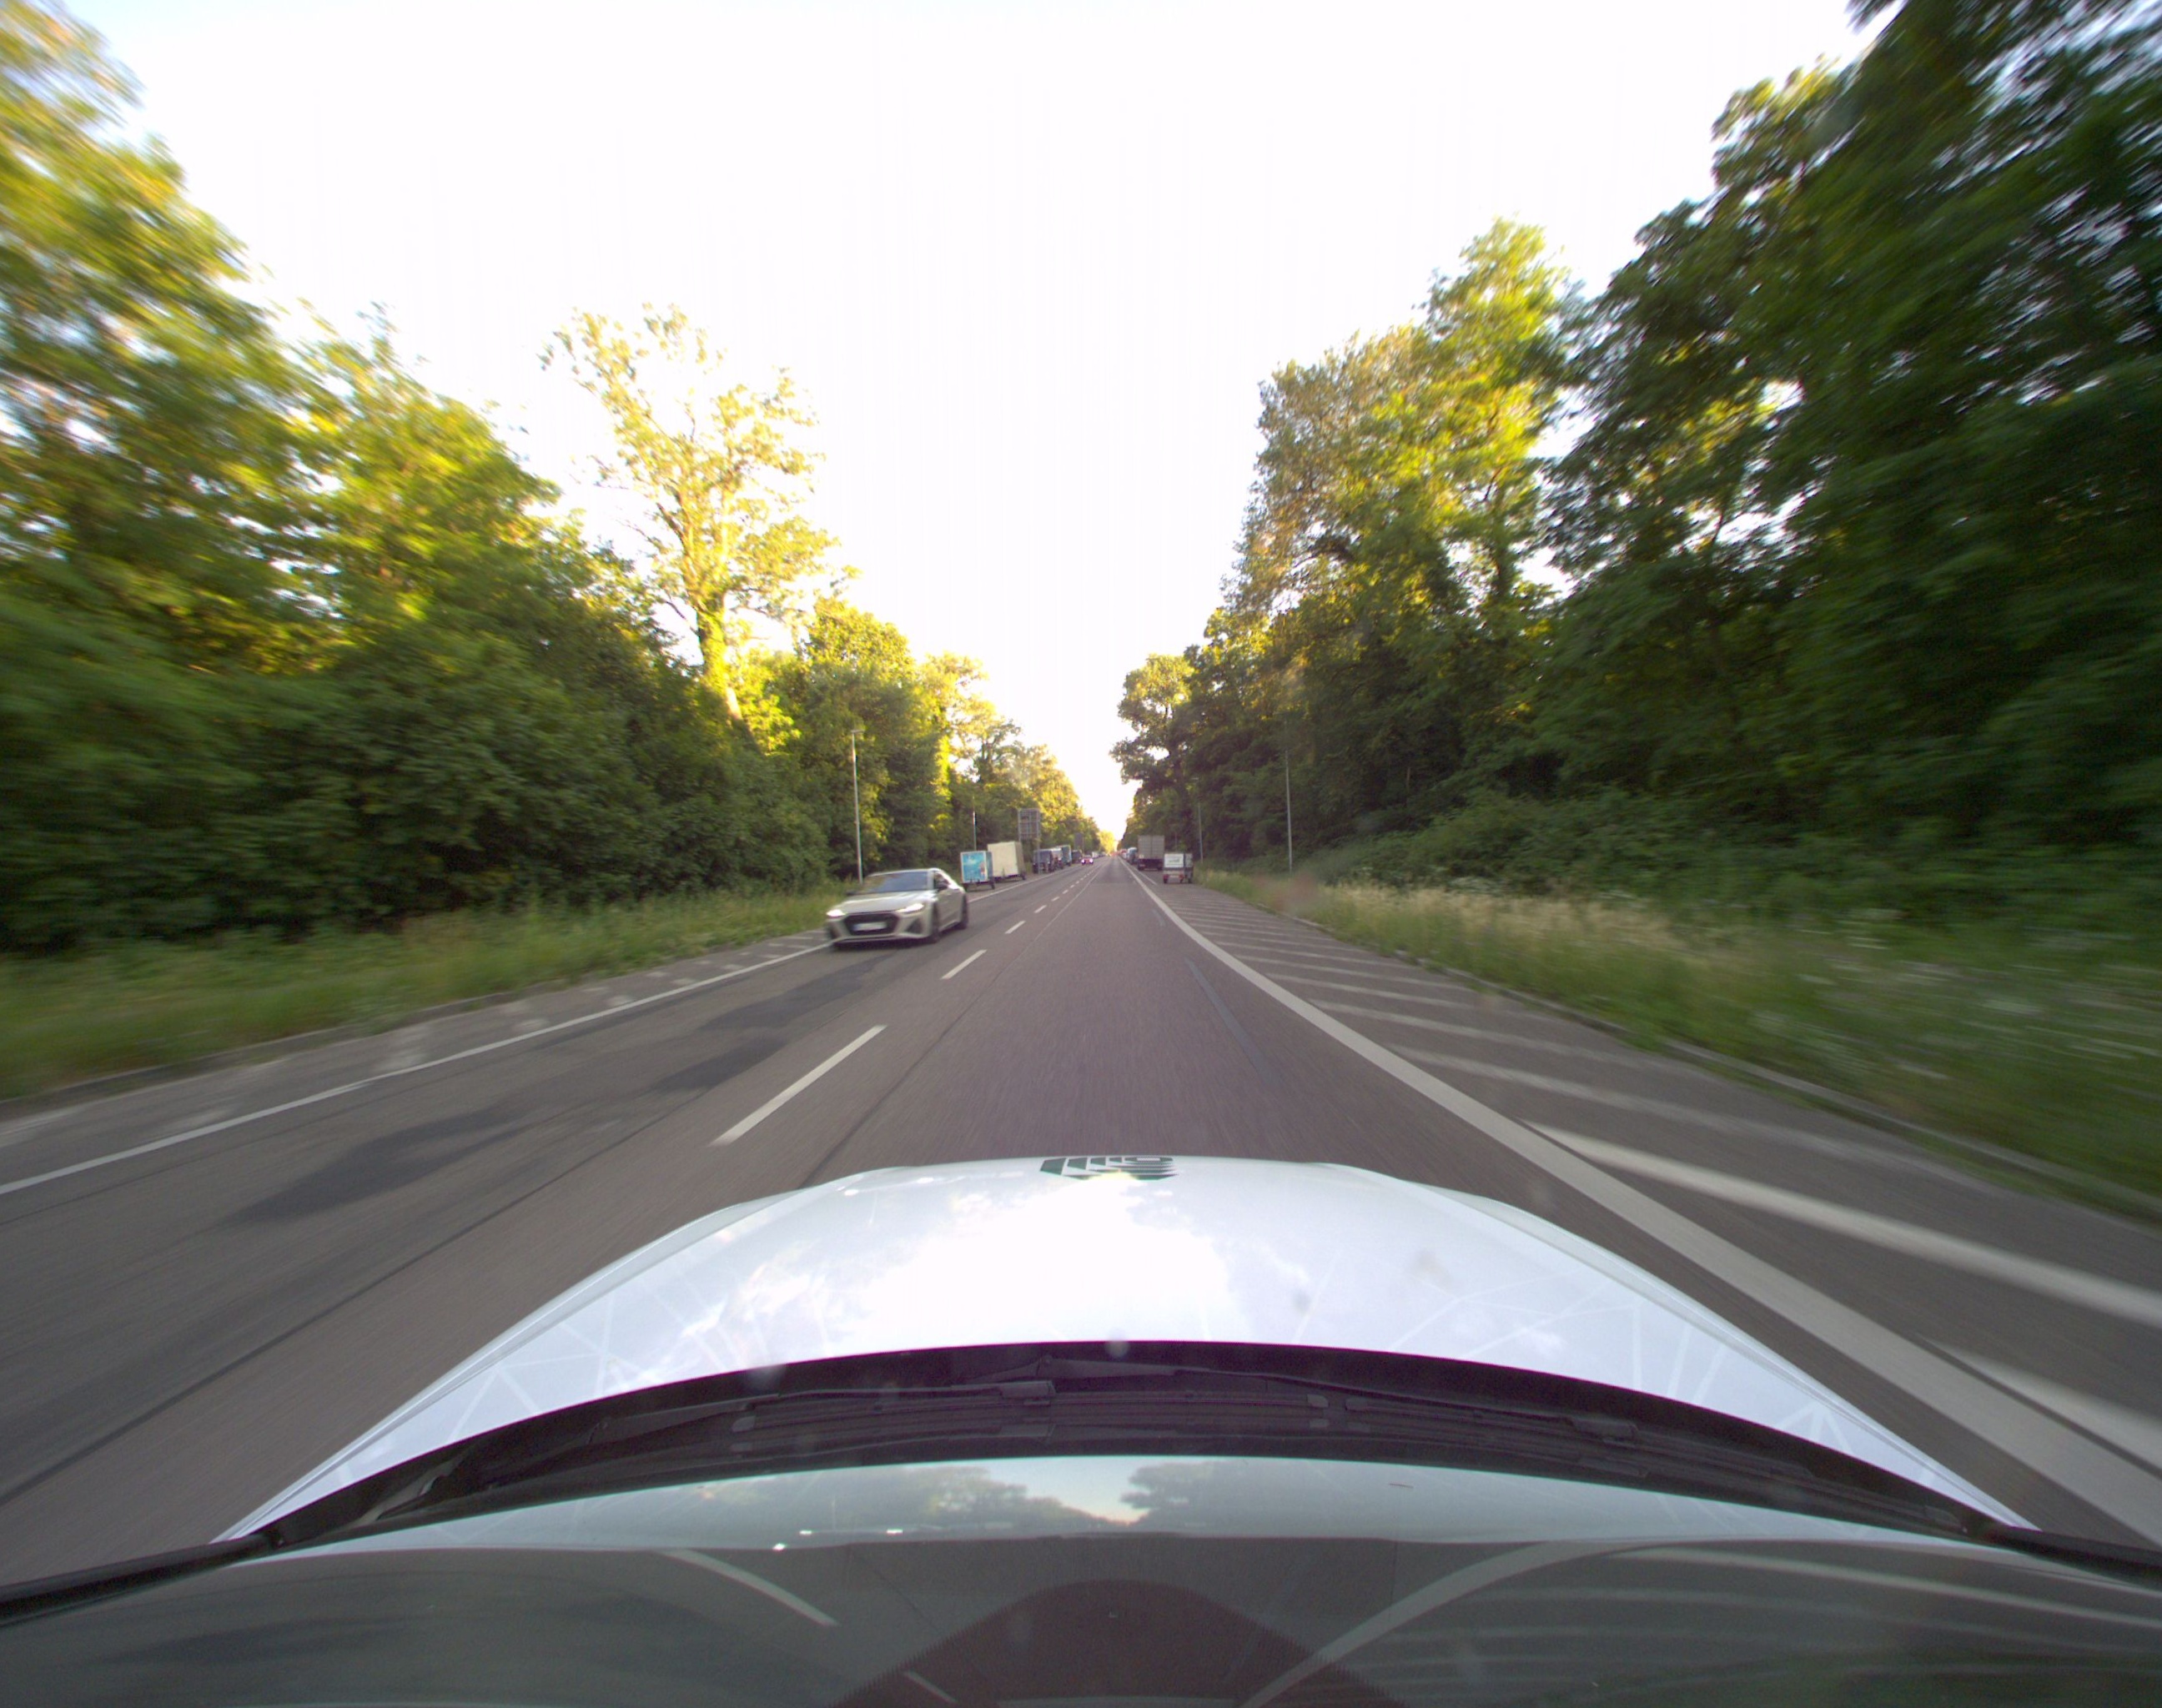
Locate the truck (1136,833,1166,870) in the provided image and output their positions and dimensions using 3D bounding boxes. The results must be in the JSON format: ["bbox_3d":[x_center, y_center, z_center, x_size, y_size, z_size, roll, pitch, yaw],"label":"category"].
[{"bbox_3d":[6.456,-0.192,75.618,2.577,3.255,7.227,-1,0,4],"label":"truck"}]

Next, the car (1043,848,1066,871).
[{"bbox_3d":[-3.283,0.648,102.193,2.241,2.647,5.724,-3,0,2],"label":"car"}]

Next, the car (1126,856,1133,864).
[{"bbox_3d":[8.837,1.142,148.153,1.143,1.251,2.753,-5,0,0],"label":"car"}]

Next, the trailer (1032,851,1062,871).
[{"bbox_3d":[-3.975,0.861,96.678,1.945,2.155,3.952,-3,0,23],"label":"trailer"}]

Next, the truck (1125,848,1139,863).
[{"bbox_3d":[8.901,0.262,141.795,2.134,2.660,4.299,-1,0,0],"label":"truck"}]

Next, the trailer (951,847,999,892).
[{"bbox_3d":[-5.621,0.801,43.734,1.811,2.167,4.144,-3,0,1],"label":"trailer"}]

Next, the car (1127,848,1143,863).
[{"bbox_3d":[8.533,0.240,128.778,2.134,2.313,4.299,-1,0,0],"label":"car"}]

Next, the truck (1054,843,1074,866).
[{"bbox_3d":[-2.577,0.082,127.440,2.494,3.328,6.845,-3,0,2],"label":"truck"}]

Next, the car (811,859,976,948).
[{"bbox_3d":[-3.606,0.897,16.626,2.055,1.435,4.468,-4,0,2],"label":"car"}]

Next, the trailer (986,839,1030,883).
[{"bbox_3d":[-5.229,0.489,59.350,2.317,2.924,5.629,-4,0,1],"label":"trailer"}]

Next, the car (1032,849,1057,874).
[{"bbox_3d":[-3.847,0.749,85.829,1.986,2.364,5.768,-5,0,2],"label":"car"}]

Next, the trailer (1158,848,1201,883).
[{"bbox_3d":[5.273,0.568,43.235,1.444,1.662,3.795,-3,0,19],"label":"trailer"}]

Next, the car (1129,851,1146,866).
[{"bbox_3d":[7.563,0.554,109.521,1.987,1.955,4.299,-1,0,0],"label":"car"}]

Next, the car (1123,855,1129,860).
[{"bbox_3d":[11.449,0.770,206.742,1.421,1.222,3.413,-2,0,2],"label":"car"}]

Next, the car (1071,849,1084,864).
[{"bbox_3d":[-0.700,0.416,162.398,2.178,2.788,5.337,-3,0,2],"label":"car"}]

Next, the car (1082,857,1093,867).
[{"bbox_3d":[1.016,1.274,126.729,1.676,1.486,4.038,-3,0,1],"label":"car"}]
